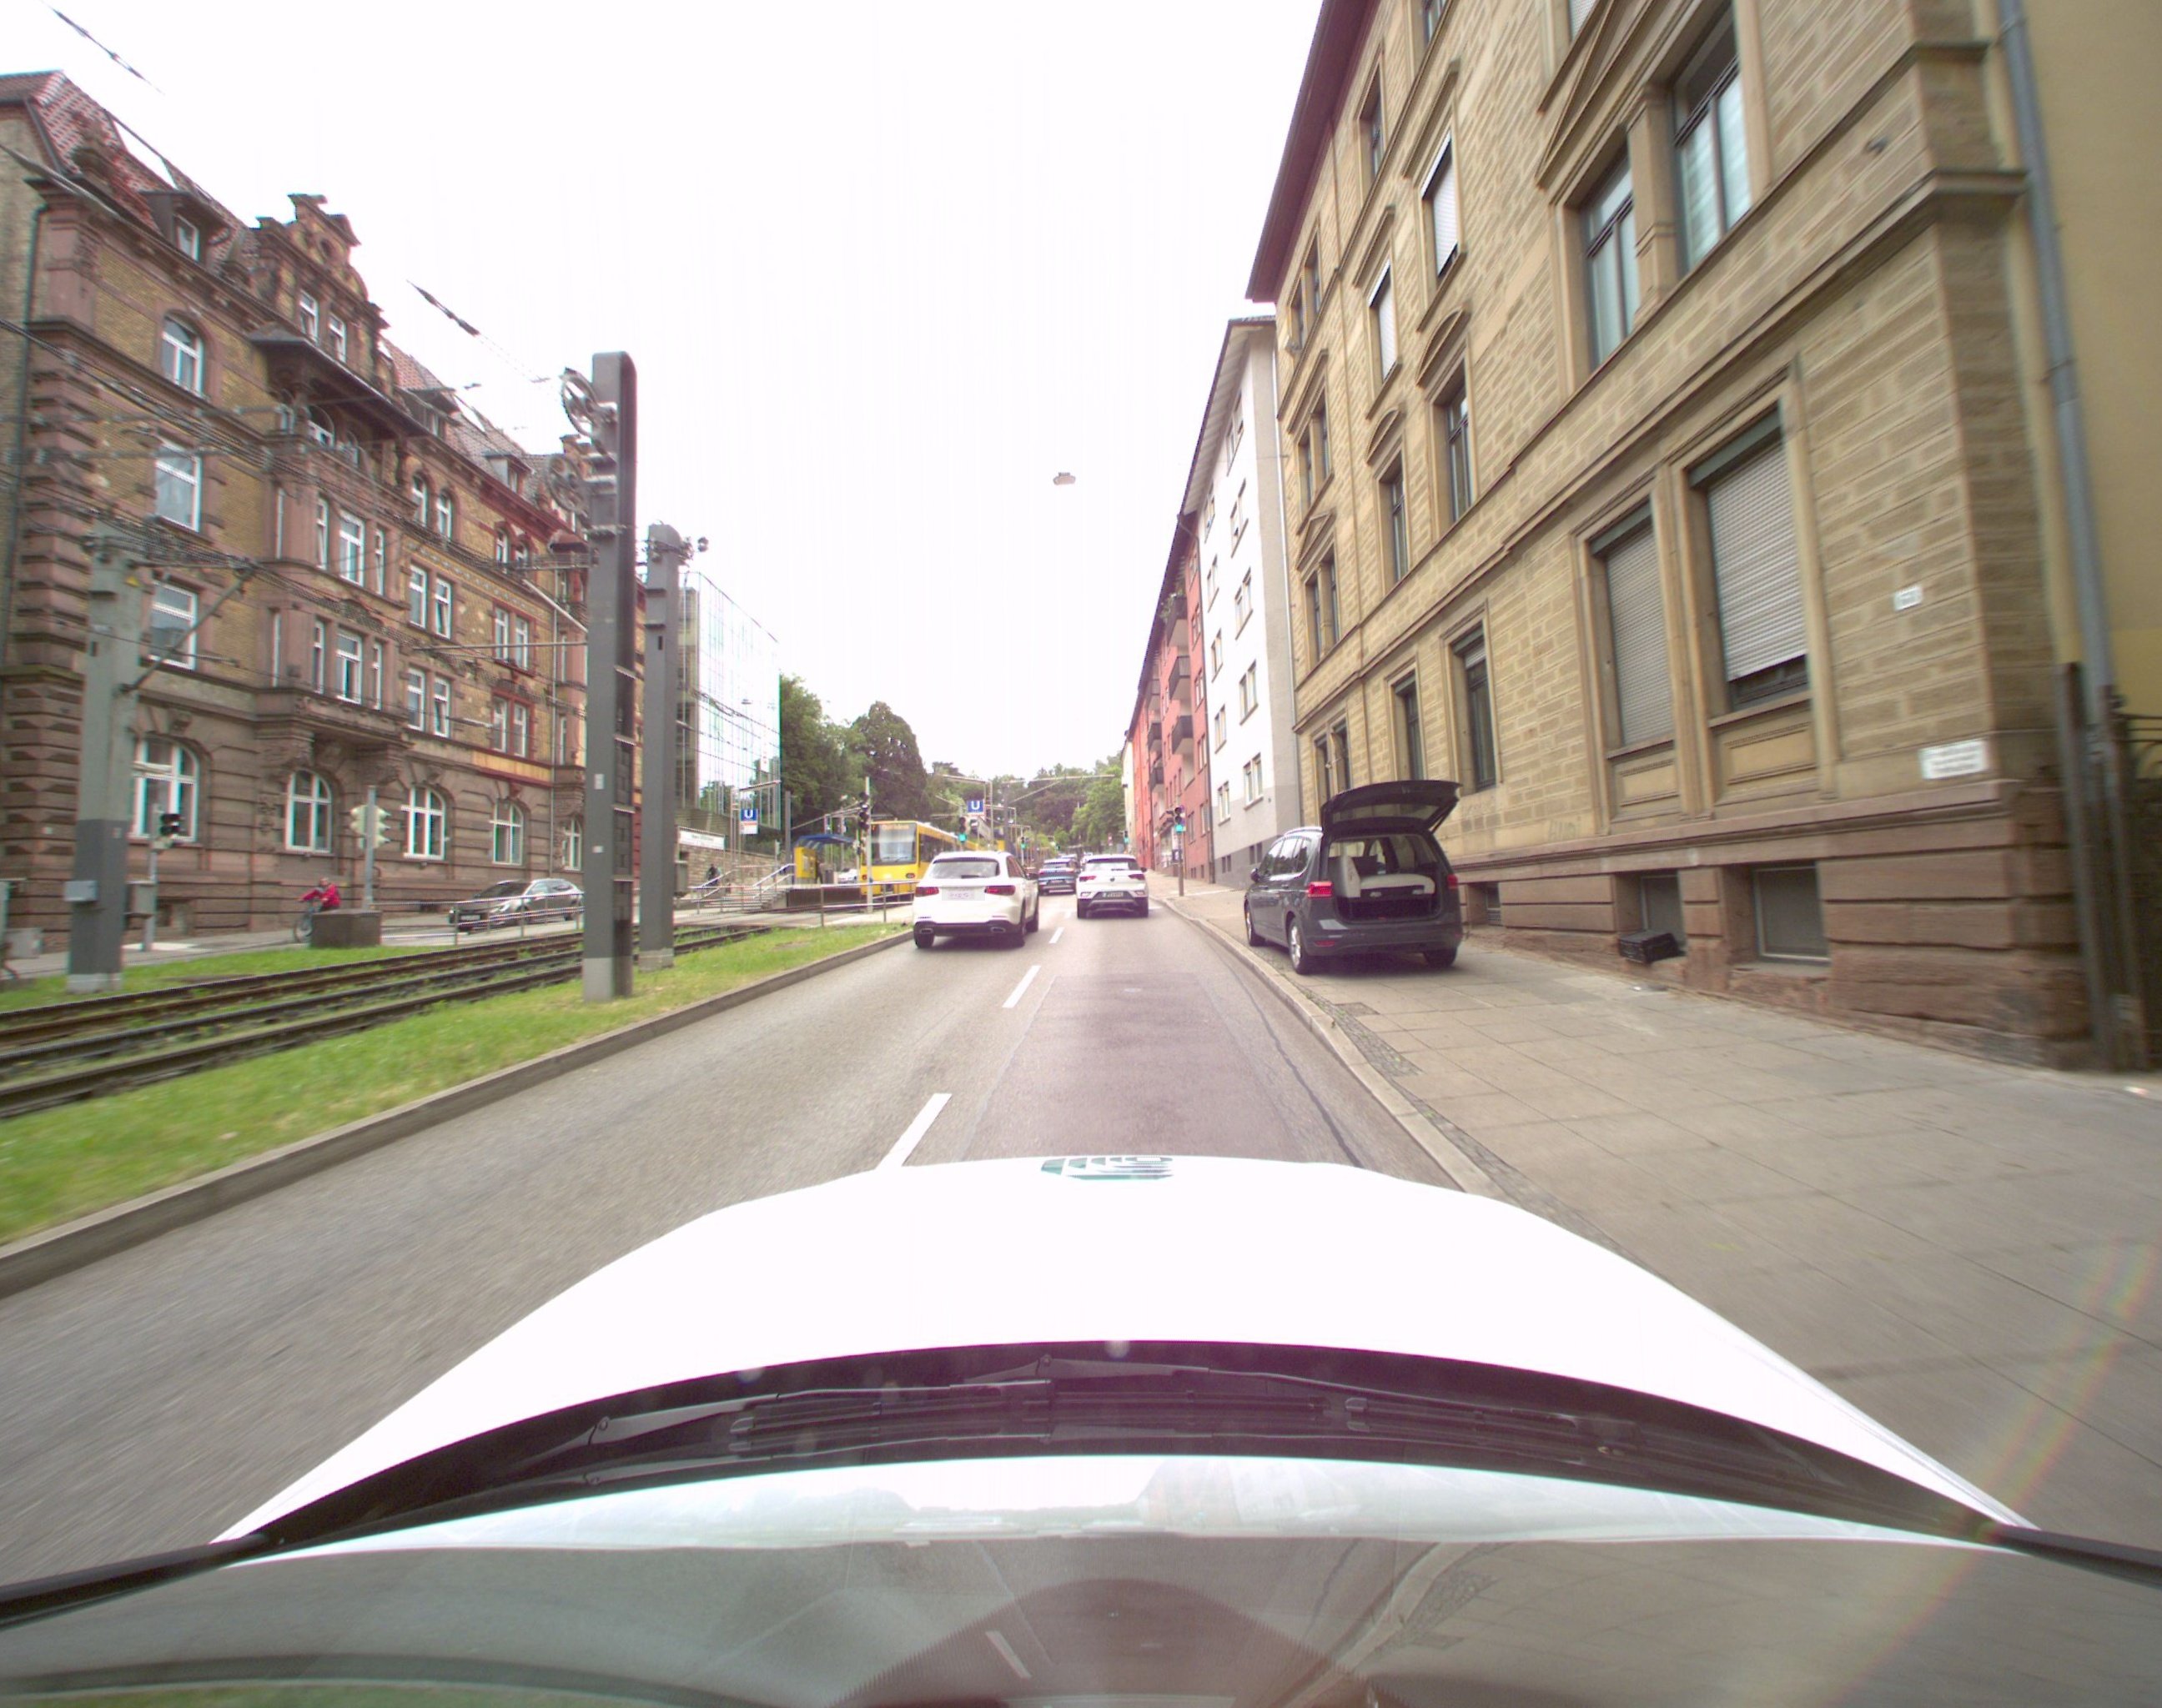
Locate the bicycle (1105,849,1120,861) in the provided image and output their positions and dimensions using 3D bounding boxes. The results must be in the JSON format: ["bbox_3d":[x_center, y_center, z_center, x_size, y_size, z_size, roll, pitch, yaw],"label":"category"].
[{"bbox_3d":[3.553,0.142,92.875,0.642,1.142,2.048,-14,4,-25],"label":"bicycle"}]

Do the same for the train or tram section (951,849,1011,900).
[{"bbox_3d":[-7.632,1.680,64.043,2.939,3.484,12.217,-2,-2,1],"label":"train or tram section"}]

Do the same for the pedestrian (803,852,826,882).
[{"bbox_3d":[-14.735,0.716,45.110,0.972,1.595,0.765,-2,-1,0],"label":"pedestrian"}]

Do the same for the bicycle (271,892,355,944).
[{"bbox_3d":[-20.506,1.690,21.780,0.622,1.222,1.603,-2,0,3],"label":"bicycle"}]

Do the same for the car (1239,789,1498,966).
[{"bbox_3d":[3.370,0.242,10.521,1.851,1.711,4.309,-3,0,2],"label":"car"}]

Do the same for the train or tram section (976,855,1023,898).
[{"bbox_3d":[-7.484,2.112,76.607,2.940,3.509,12.982,-3,-2,0],"label":"train or tram section"}]

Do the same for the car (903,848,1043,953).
[{"bbox_3d":[-1.835,0.746,15.211,1.870,1.652,4.343,-1,0,2],"label":"car"}]

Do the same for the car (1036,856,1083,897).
[{"bbox_3d":[-0.905,0.954,36.514,1.854,1.632,3.959,-2,0,1],"label":"car"}]

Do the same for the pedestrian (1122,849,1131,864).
[{"bbox_3d":[5.637,0.320,100.093,0.834,1.712,0.818,-4,0,-14],"label":"pedestrian"}]

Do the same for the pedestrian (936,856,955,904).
[{"bbox_3d":[-4.903,0.938,29.462,0.621,1.695,0.658,-2,-1,-9],"label":"pedestrian"}]

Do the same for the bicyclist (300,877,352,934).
[{"bbox_3d":[-20.494,1.388,22.116,0.616,1.480,0.812,-2,0,2],"label":"bicyclist"}]

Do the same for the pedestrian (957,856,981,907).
[{"bbox_3d":[-3.736,0.905,27.138,0.676,1.680,0.685,-2,-1,-3],"label":"pedestrian"}]

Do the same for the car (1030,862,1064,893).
[{"bbox_3d":[-2.166,1.480,53.029,1.987,1.882,3.999,-1,0,0],"label":"car"}]

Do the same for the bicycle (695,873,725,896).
[{"bbox_3d":[-21.786,1.781,47.902,0.772,1.284,2.422,-2,0,-4],"label":"bicycle"}]

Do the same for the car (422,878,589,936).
[{"bbox_3d":[-17.377,1.531,24.923,1.877,1.418,4.557,-2,0,-2],"label":"car"}]

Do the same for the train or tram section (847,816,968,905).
[{"bbox_3d":[-7.958,0.531,39.472,2.939,3.544,12.396,-2,-3,1],"label":"train or tram section"}]

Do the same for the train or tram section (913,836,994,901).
[{"bbox_3d":[-7.828,1.135,51.784,2.939,3.472,12.215,-3,-4,1],"label":"train or tram section"}]

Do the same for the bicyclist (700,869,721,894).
[{"bbox_3d":[-21.797,1.606,47.922,0.767,1.428,0.905,-2,-1,-4],"label":"bicyclist"}]

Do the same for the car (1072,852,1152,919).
[{"bbox_3d":[0.795,0.745,21.144,1.858,1.556,3.896,-1,0,2],"label":"car"}]
